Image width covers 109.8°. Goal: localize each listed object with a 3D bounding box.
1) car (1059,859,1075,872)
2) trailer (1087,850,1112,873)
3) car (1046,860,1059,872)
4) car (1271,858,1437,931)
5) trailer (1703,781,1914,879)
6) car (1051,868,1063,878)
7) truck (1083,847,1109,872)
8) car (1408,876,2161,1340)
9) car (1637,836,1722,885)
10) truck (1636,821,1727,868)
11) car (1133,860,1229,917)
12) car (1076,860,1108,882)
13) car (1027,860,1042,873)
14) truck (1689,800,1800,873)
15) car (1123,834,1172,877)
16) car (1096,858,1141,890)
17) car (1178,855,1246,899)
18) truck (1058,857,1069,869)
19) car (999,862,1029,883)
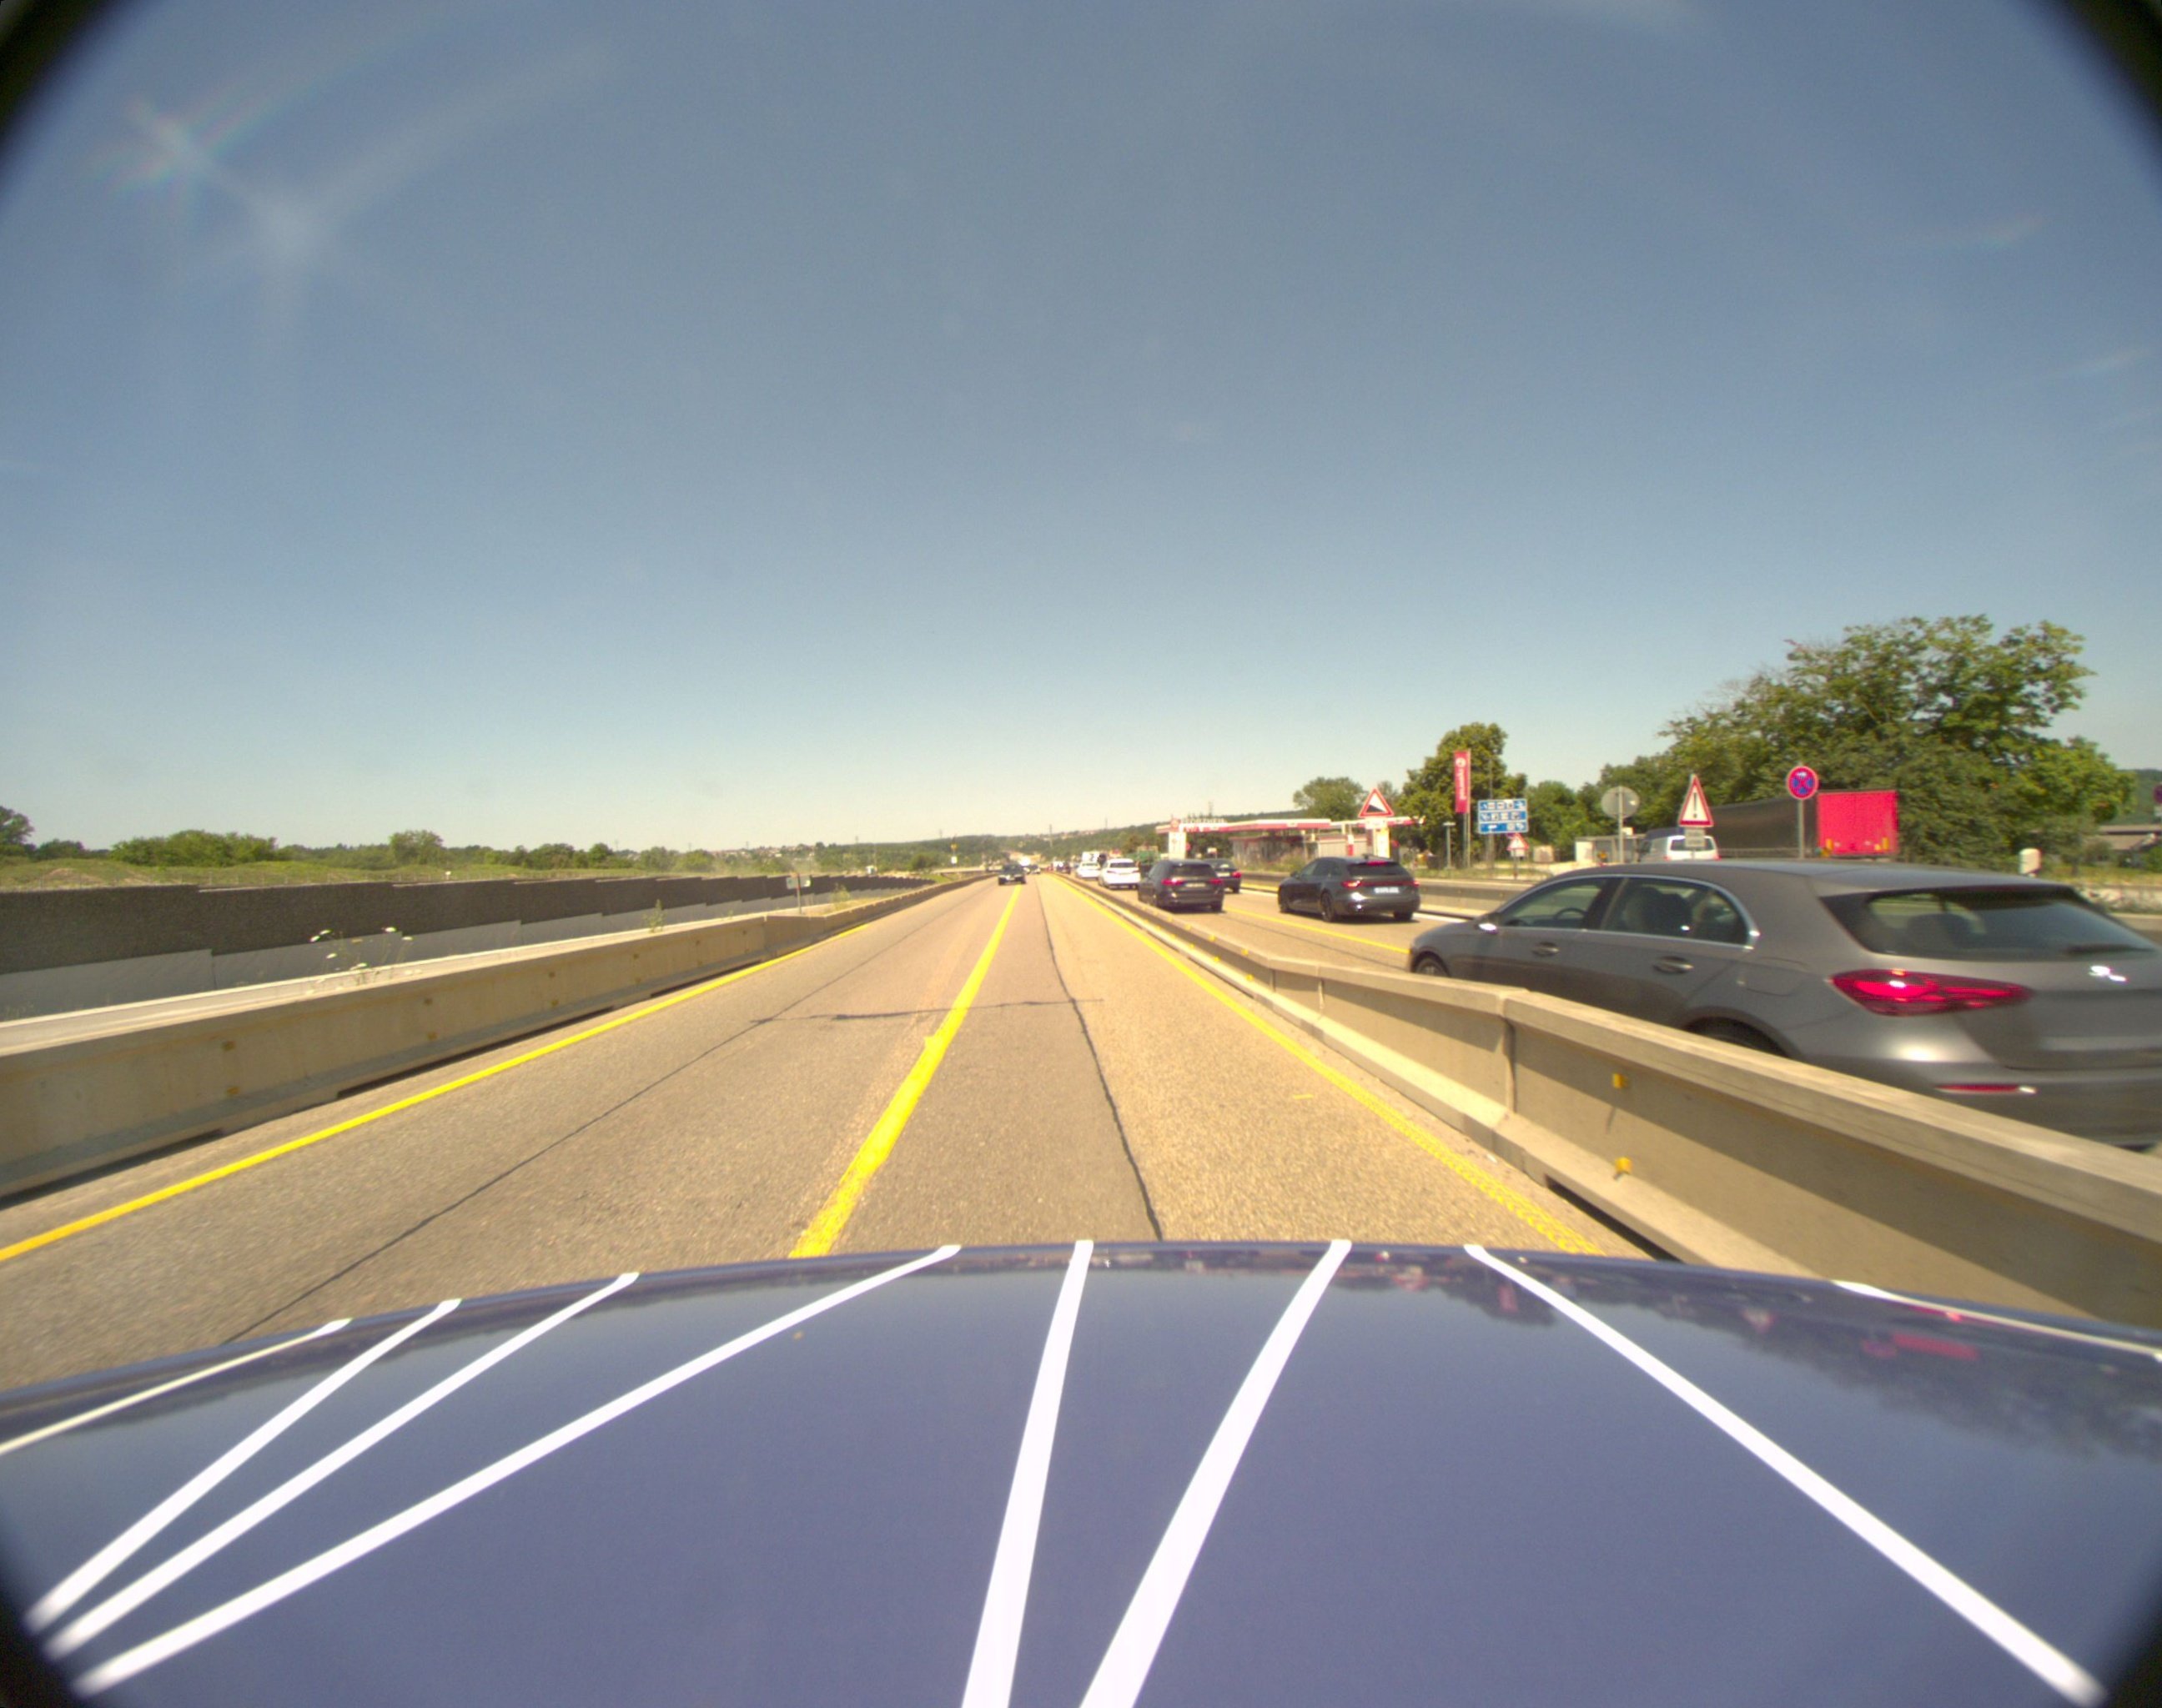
[{"bbox_3d":[-1.846,1.504,97.452,1.910,1.599,3.999,-2,-1,-3],"label":"car"},{"bbox_3d":[2.025,0.830,83.690,2.188,2.300,5.612,-2,-1,-4],"label":"trailer"},{"bbox_3d":[-4.432,1.859,119.589,1.859,1.828,4.590,-1,-1,-4],"label":"car"},{"bbox_3d":[6.116,0.826,17.708,1.999,1.391,4.578,-1,1,-3],"label":"car"},{"bbox_3d":[36.580,-1.030,39.244,3.153,4.087,14.187,-1,0,24],"label":"trailer"},{"bbox_3d":[-4.256,3.343,135.376,1.913,1.793,5.081,-1,-1,-4],"label":"car"},{"bbox_3d":[1.712,0.702,90.569,2.487,2.807,8.127,-1,-1,-3],"label":"truck"},{"bbox_3d":[3.778,0.908,4.642,1.593,1.432,4.123,-1,0,-3],"label":"car"},{"bbox_3d":[26.003,0.303,33.201,1.919,1.929,5.103,-2,-1,27],"label":"car"},{"bbox_3d":[42.652,-0.631,54.266,2.822,3.045,7.131,-1,0,18],"label":"truck"},{"bbox_3d":[2.715,0.899,21.769,1.779,1.419,4.768,-1,0,-4],"label":"car"},{"bbox_3d":[0.770,1.210,55.843,1.821,1.368,4.246,-6,0,-4],"label":"car"},{"bbox_3d":[-6.502,1.712,105.564,1.818,1.652,3.998,-5,0,-5],"label":"car"},{"bbox_3d":[39.089,-0.971,45.081,3.153,3.961,6.357,-1,0,24],"label":"truck"},{"bbox_3d":[4.192,0.125,49.288,1.919,2.385,6.450,-6,0,-4],"label":"car"},{"bbox_3d":[1.799,0.925,37.551,1.739,1.469,4.518,0,0,-3],"label":"car"},{"bbox_3d":[5.306,0.892,31.248,1.772,1.588,3.999,-3,0,-4],"label":"car"},{"bbox_3d":[-4.139,2.113,177.658,2.245,2.769,6.491,-2,-1,-4],"label":"truck"},{"bbox_3d":[-4.421,1.252,50.842,1.810,1.299,4.000,-1,-1,-3],"label":"car"}]
